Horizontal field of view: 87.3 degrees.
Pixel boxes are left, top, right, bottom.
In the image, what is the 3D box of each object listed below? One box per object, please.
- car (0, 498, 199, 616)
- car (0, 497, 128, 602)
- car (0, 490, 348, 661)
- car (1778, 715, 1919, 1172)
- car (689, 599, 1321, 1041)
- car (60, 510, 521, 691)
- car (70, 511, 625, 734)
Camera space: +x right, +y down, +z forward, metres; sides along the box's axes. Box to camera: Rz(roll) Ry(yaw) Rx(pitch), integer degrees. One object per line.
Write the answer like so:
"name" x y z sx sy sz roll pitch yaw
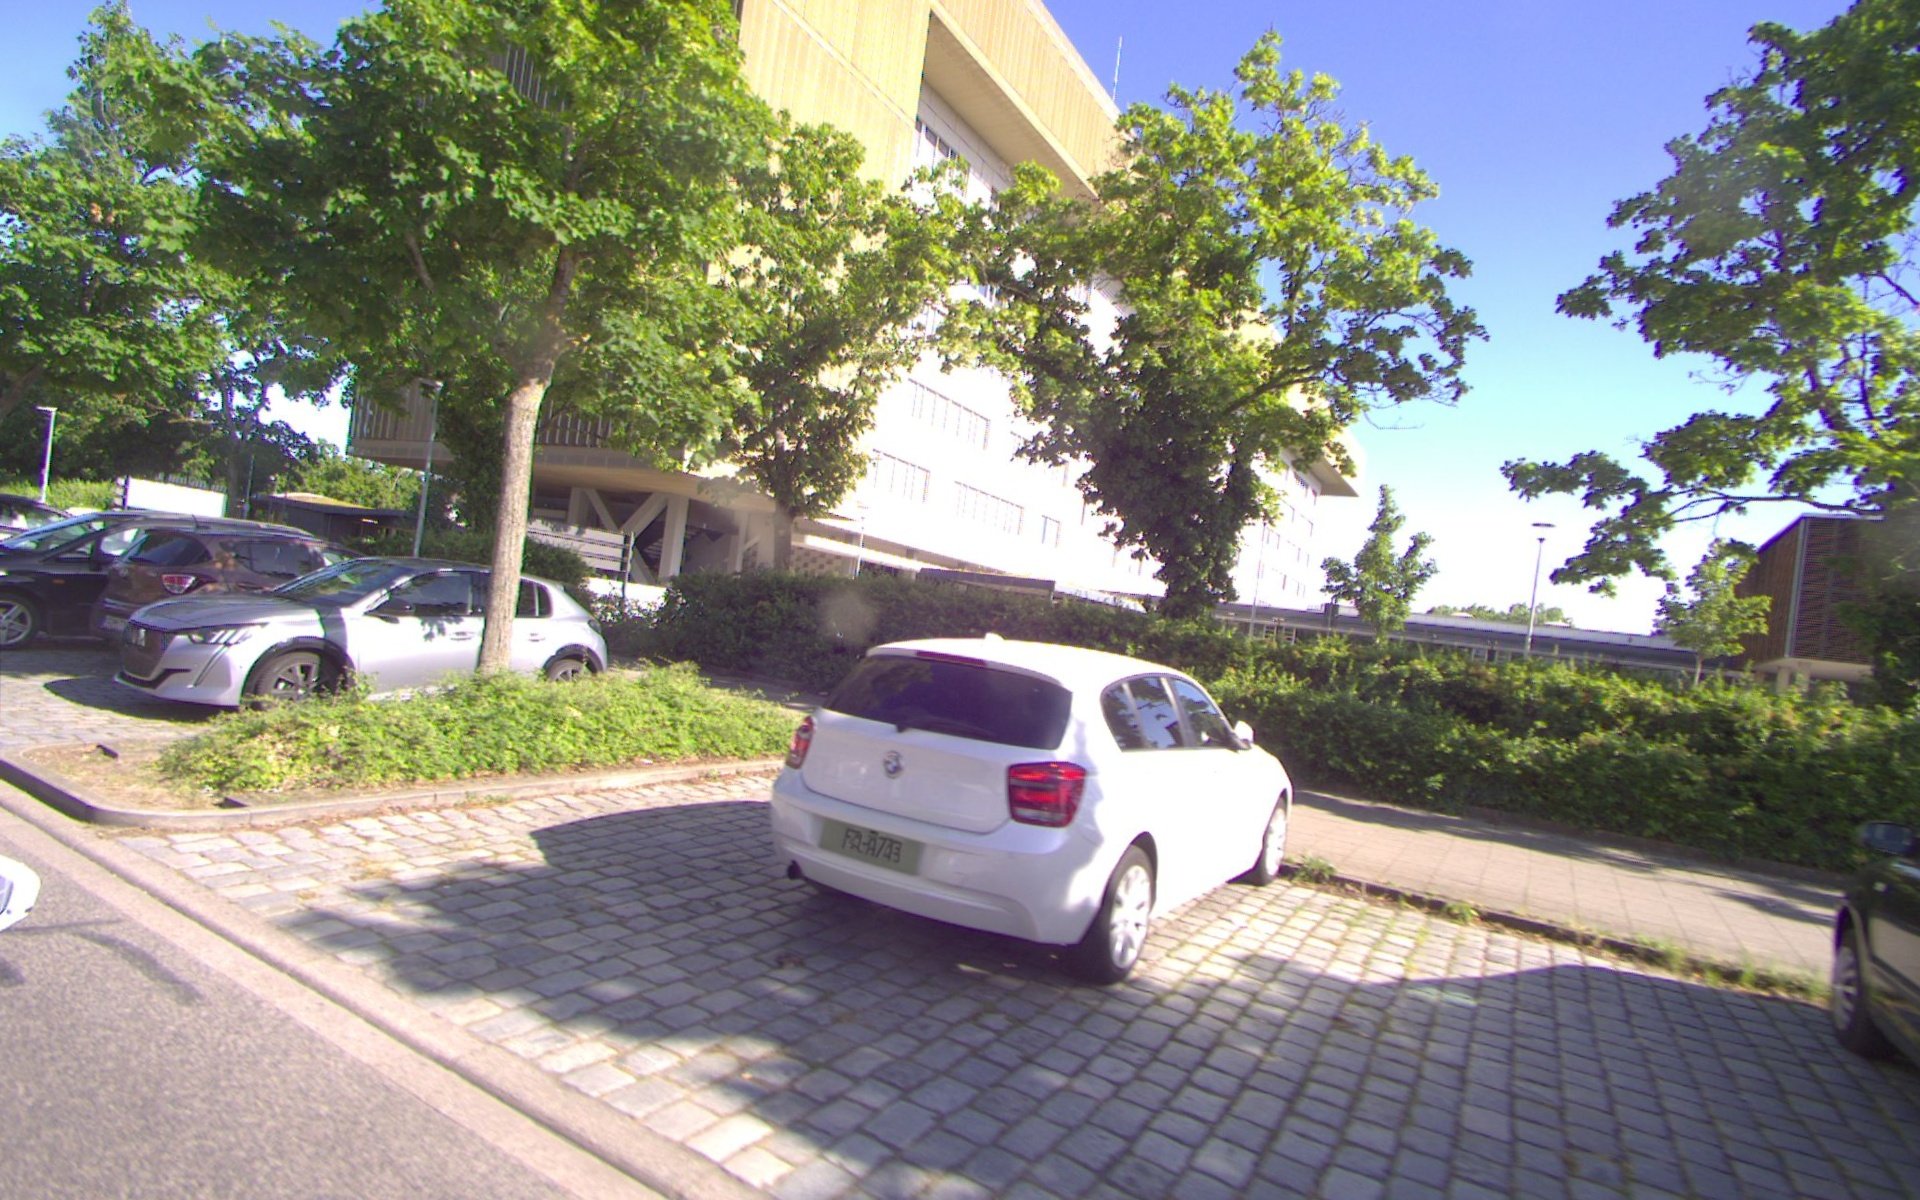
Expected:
"car" -14.715 -0.757 15.749 1.831 1.556 3.994 6 -2 32
"car" -16.983 -1.026 16.999 1.998 1.600 3.994 6 -2 32
"car" -9.643 -0.274 11.459 1.711 1.599 4.152 7 -1 30
"car" 4.299 1.323 3.342 1.678 1.568 3.614 8 -1 29
"car" 0.647 0.942 5.770 1.713 1.443 4.066 6 -1 33
"car" -7.195 0.121 11.255 1.624 1.522 3.871 7 -2 29
"car" -5.295 0.301 9.257 1.713 1.503 3.909 7 -2 30
